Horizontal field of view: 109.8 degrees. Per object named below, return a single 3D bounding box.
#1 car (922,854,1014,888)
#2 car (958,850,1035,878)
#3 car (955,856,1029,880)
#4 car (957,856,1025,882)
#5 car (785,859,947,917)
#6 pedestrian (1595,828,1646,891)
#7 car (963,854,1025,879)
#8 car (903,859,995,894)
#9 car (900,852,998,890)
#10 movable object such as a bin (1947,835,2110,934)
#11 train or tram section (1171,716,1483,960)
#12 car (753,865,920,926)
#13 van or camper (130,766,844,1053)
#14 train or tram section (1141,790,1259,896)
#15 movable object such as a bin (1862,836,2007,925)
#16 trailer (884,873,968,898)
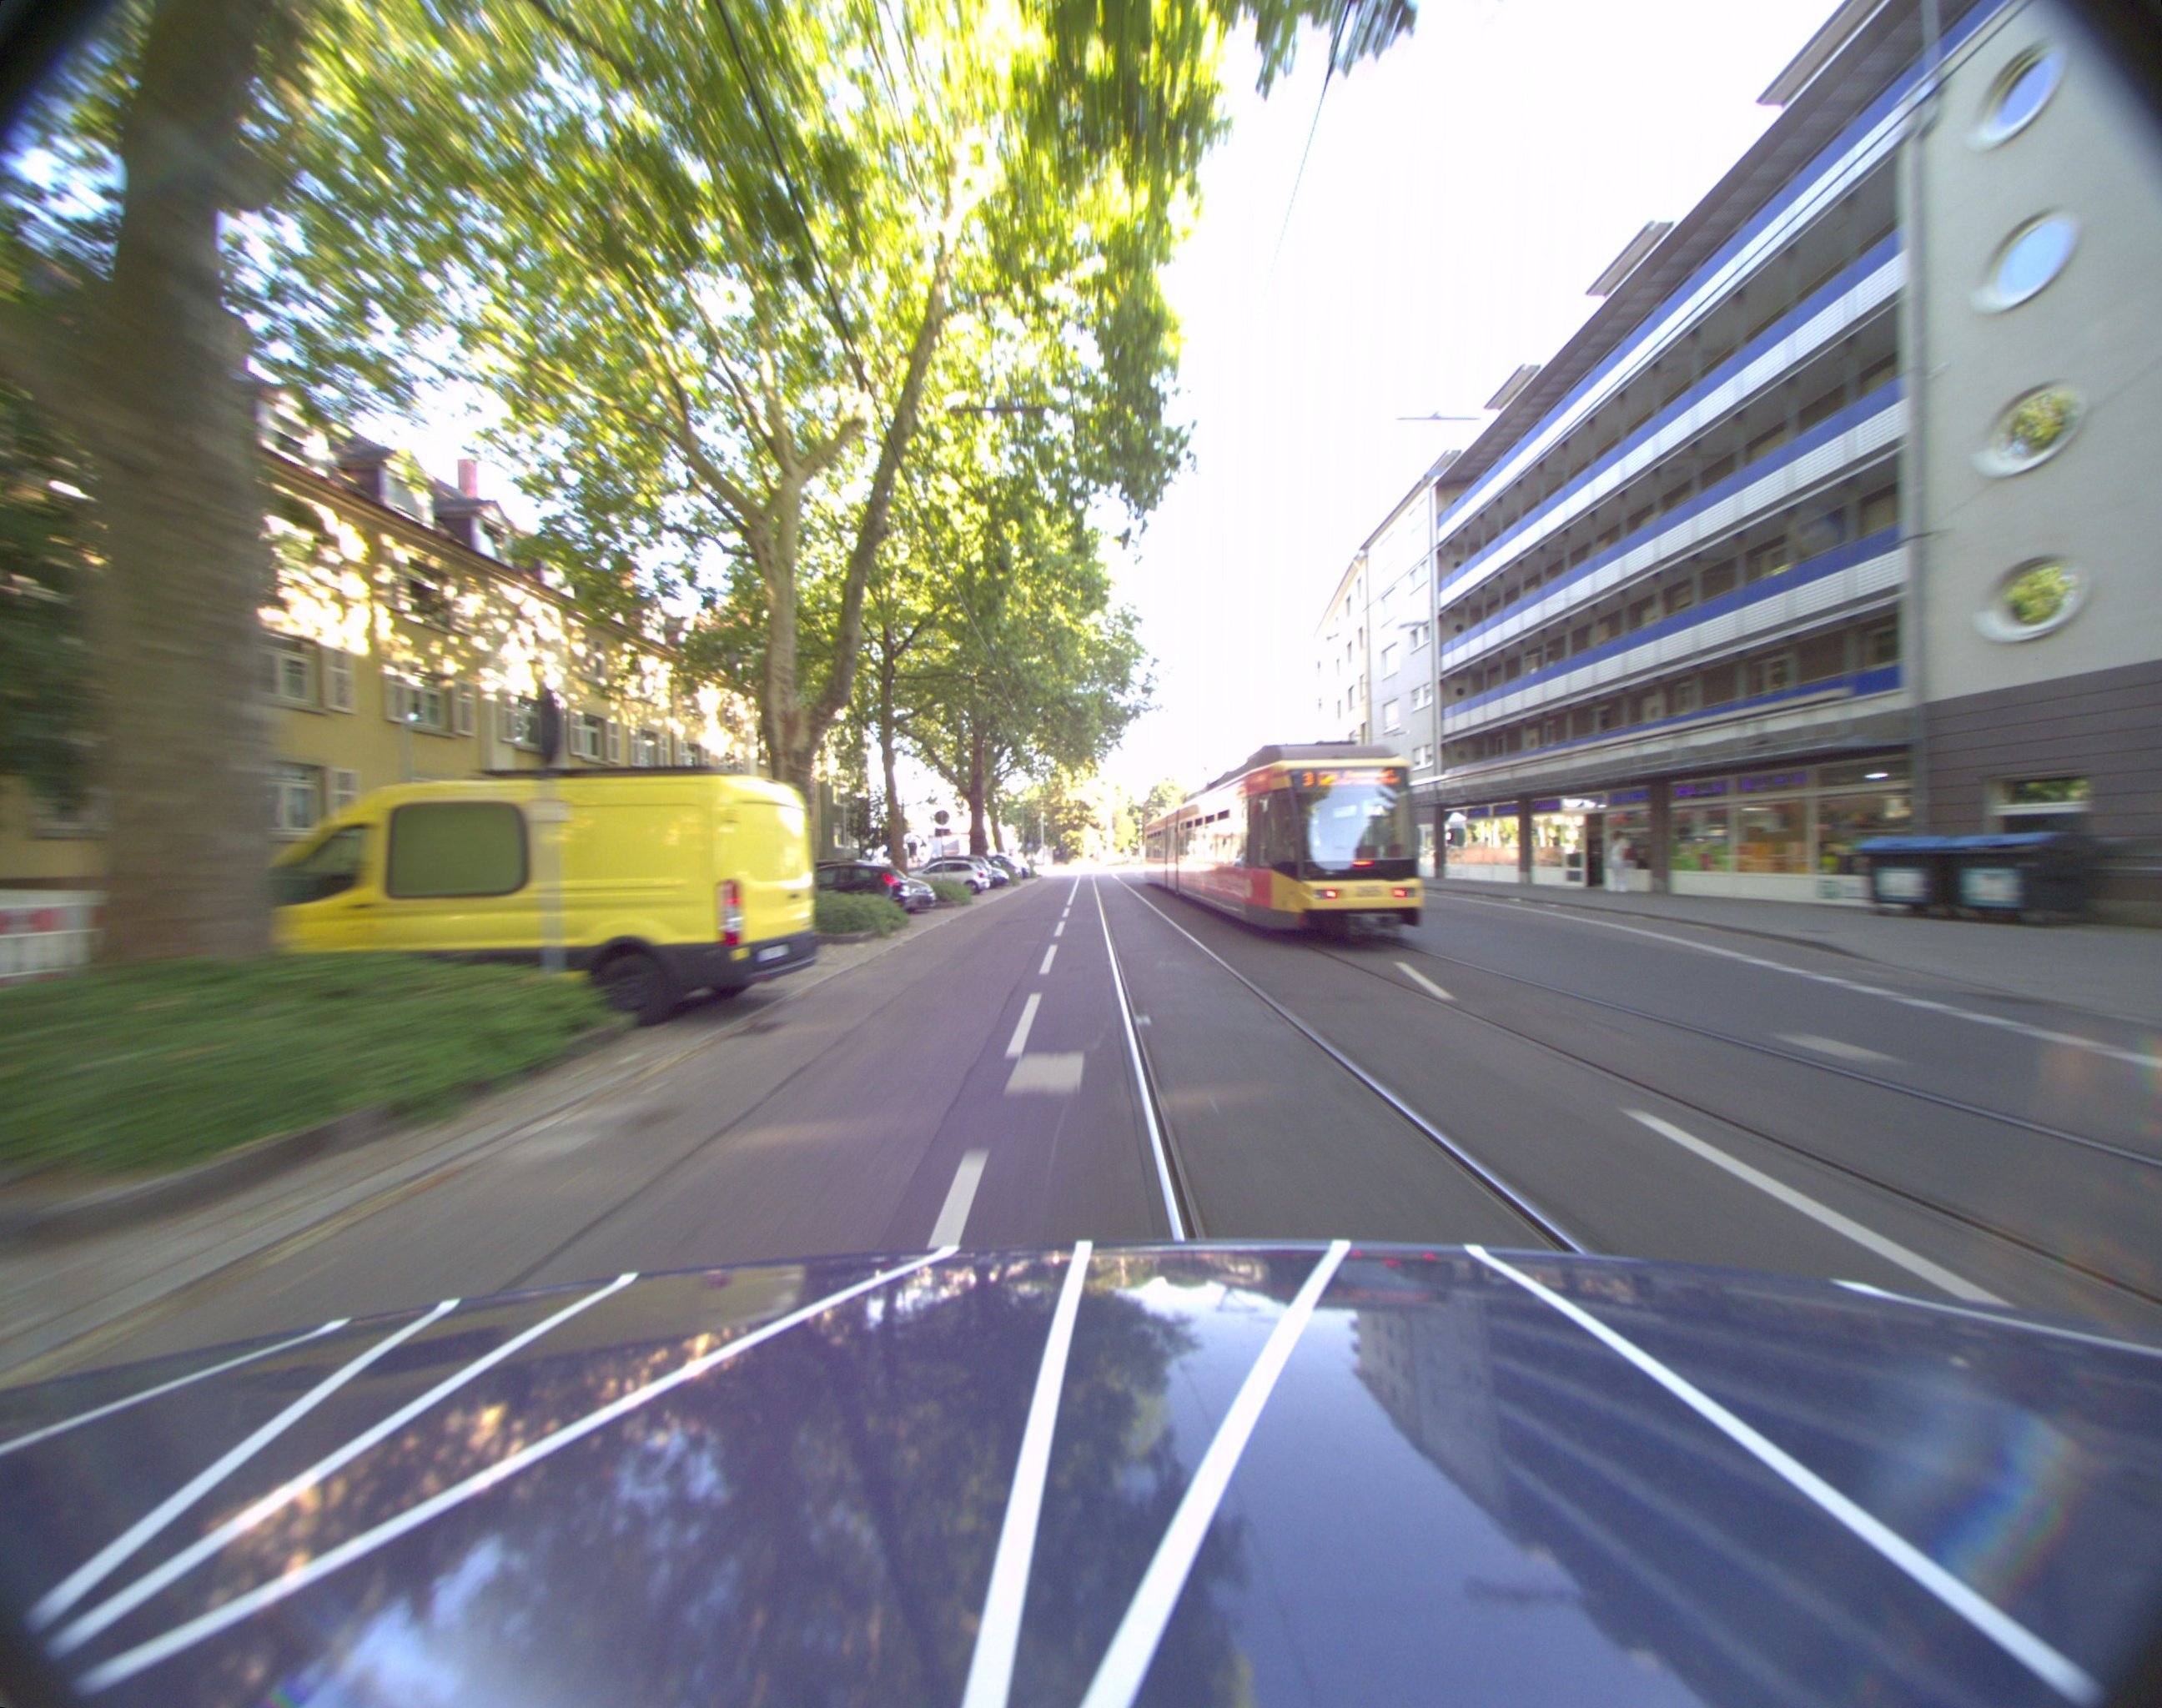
[{"bbox_3d":[-5.721,0.854,38.821,4.436,1.648,1.908,0,1,-1],"label":"car"},{"bbox_3d":[-5.870,0.682,53.245,5.126,1.845,1.914,0,1,0],"label":"car"},{"bbox_3d":[-5.614,0.867,48.156,4.410,1.514,1.818,0,0,1],"label":"car"},{"bbox_3d":[-5.328,0.889,45.383,3.891,1.488,1.741,0,0,-2],"label":"car"},{"bbox_3d":[-6.026,0.938,21.659,4.087,1.541,1.830,0,1,0],"label":"car"},{"bbox_3d":[15.380,0.150,21.685,0.789,1.703,0.820,-4,1,0],"label":"pedestrian"},{"bbox_3d":[-5.779,0.808,50.674,3.884,1.596,1.795,0,0,0],"label":"car"},{"bbox_3d":[-5.724,0.977,33.329,3.660,1.416,1.866,1,0,2],"label":"car"},{"bbox_3d":[-6.294,0.797,36.506,4.318,1.721,1.841,0,0,4],"label":"car"},{"bbox_3d":[14.791,0.445,11.905,1.059,1.442,1.210,-1,1,-3],"label":"movable object such as a bin"},{"bbox_3d":[4.404,-0.280,18.100,2.916,3.466,14.197,-1,0,1],"label":"train or tram section"},{"bbox_3d":[-6.040,1.011,19.124,3.663,1.418,1.737,0,1,-3],"label":"car"},{"bbox_3d":[-5.936,0.524,8.219,5.939,2.614,2.270,-1,2,3],"label":"van or camper"},{"bbox_3d":[4.503,-0.419,31.943,2.916,3.466,13.368,-1,0,1],"label":"train or tram section"},{"bbox_3d":[14.700,0.438,13.136,1.142,1.442,1.213,-1,1,-3],"label":"movable object such as a bin"},{"bbox_3d":[-6.236,1.271,30.732,3.046,0.898,1.437,0,1,7],"label":"trailer"}]
